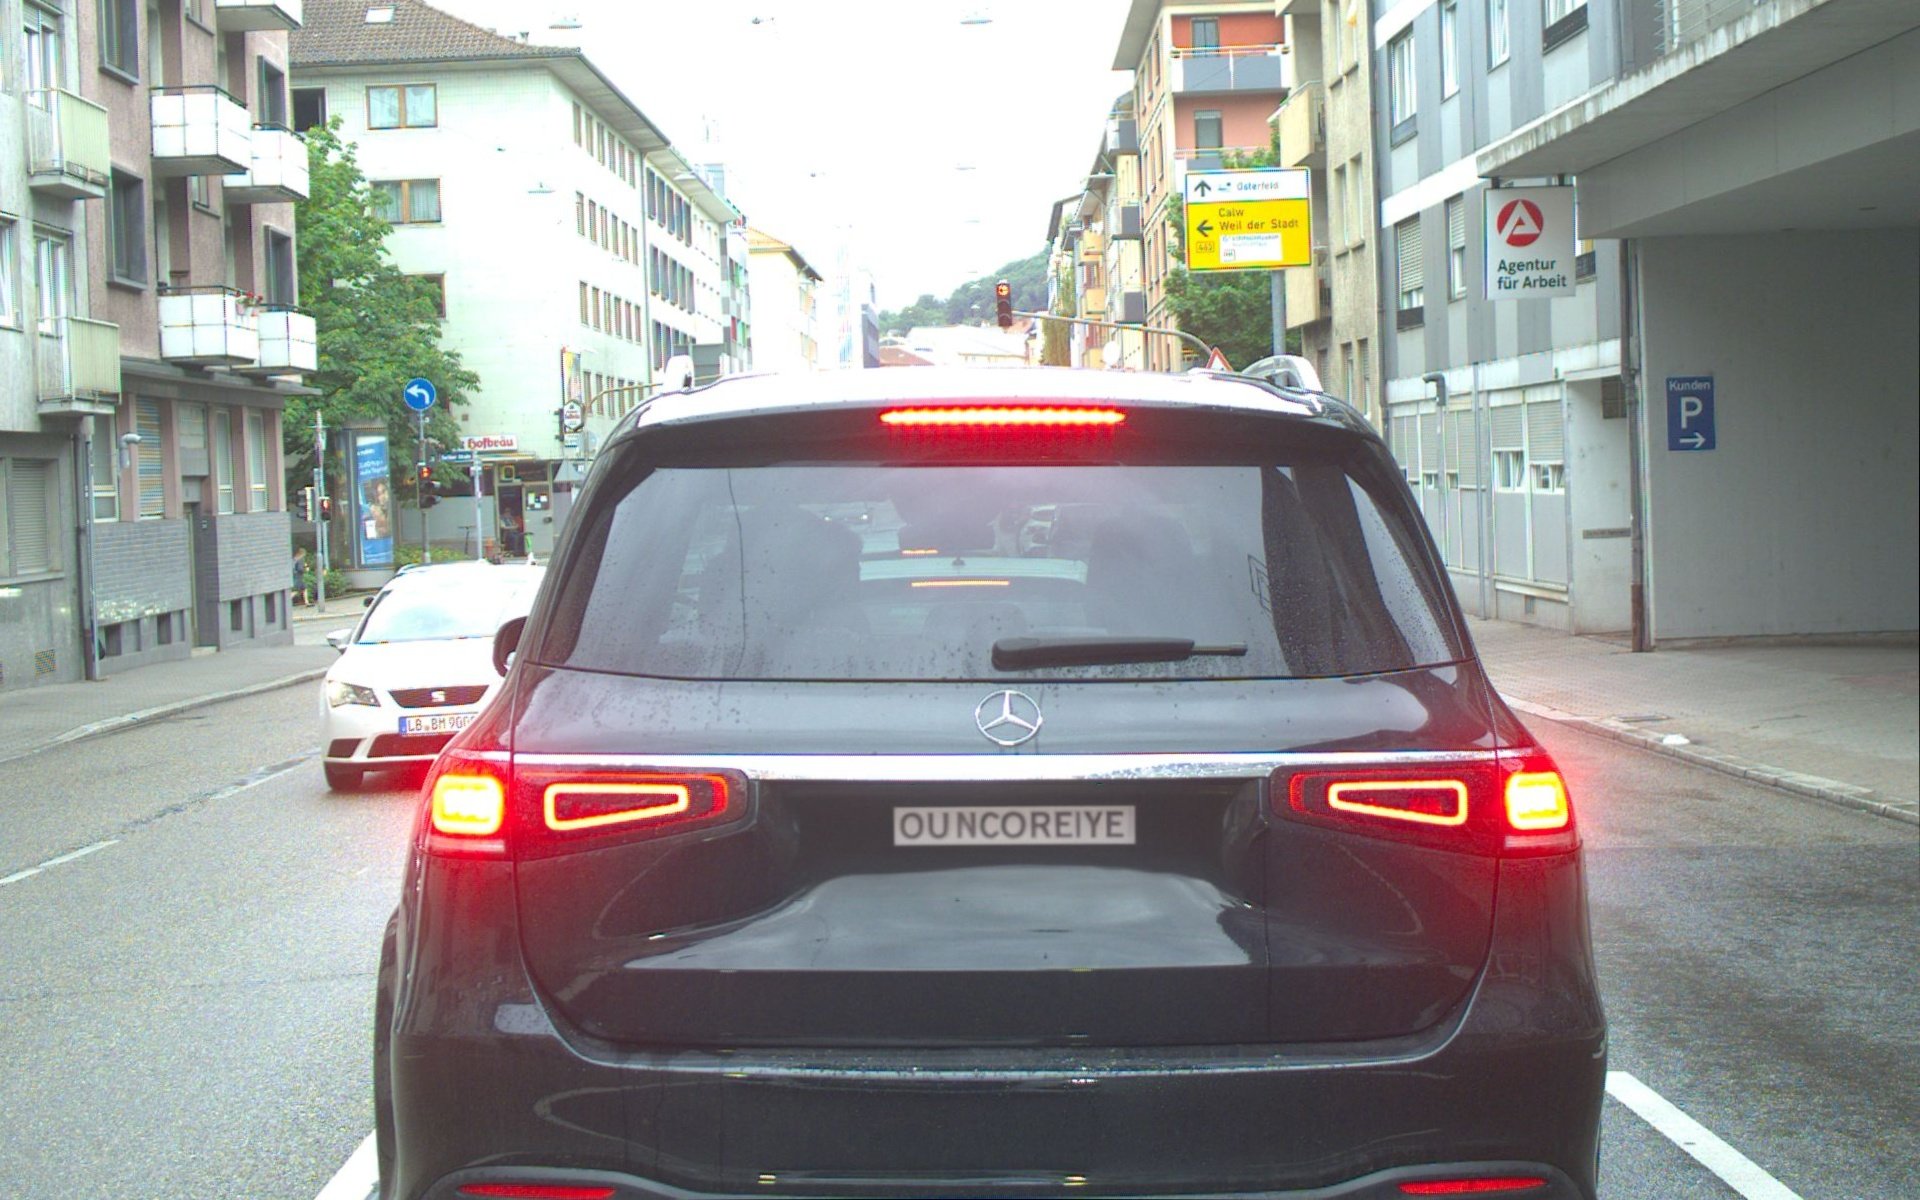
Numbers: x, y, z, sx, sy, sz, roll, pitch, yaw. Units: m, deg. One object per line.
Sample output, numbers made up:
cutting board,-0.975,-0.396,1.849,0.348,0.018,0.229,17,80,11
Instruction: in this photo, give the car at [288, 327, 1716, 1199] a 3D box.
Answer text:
car,0.031,0.509,7.011,1.985,1.799,4.390,1,1,-1

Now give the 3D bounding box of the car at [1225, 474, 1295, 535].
car,8.226,-2.629,94.597,1.671,1.583,3.330,-2,1,2

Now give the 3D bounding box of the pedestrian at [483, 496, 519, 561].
pedestrian,-13.616,-2.115,101.953,0.923,1.895,0.706,-2,1,-2

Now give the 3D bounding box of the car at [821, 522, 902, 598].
car,-2.235,-0.896,77.829,1.694,1.575,4.218,-4,0,-2

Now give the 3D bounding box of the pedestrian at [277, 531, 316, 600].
pedestrian,-17.295,-0.907,89.638,0.636,1.758,0.773,-3,2,-41

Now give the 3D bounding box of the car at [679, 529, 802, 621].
car,-3.608,-0.411,57.081,1.695,1.365,4.218,-4,0,0

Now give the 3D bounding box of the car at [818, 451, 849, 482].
car,-7.142,-7.489,193.624,1.618,1.534,4.218,-3,1,-3

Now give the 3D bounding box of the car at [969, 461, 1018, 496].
car,1.478,-5.408,153.520,1.885,1.367,4.218,-3,1,-3

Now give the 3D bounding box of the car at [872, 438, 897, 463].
car,-5.472,-10.872,250.220,1.618,1.534,4.218,-3,1,-3

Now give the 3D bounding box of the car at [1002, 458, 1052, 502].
car,2.616,-4.691,135.017,1.618,1.534,4.218,-3,1,-3

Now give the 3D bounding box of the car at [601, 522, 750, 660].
car,-3.487,-0.124,42.669,1.618,1.534,4.218,-3,1,-3

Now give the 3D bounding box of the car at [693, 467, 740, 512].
car,-9.317,-4.200,131.579,1.618,1.534,4.218,-3,1,-3

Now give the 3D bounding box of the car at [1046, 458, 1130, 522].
car,3.103,-2.668,84.152,1.618,1.382,4.218,-3,1,-3

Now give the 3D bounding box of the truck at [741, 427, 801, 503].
truck,-8.611,-6.096,156.996,2.479,3.035,9.921,-3,1,-3

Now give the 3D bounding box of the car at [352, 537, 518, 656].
car,-7.283,-0.089,48.060,1.723,1.468,4.375,-4,1,-2

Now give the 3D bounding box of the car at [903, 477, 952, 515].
car,-1.364,-4.379,145.440,1.993,1.483,4.000,-2,1,-1

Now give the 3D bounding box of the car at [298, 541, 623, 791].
car,-3.461,0.414,24.472,1.744,1.534,4.053,-3,1,-2

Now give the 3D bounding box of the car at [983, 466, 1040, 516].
car,1.760,-3.773,119.123,1.618,1.534,4.218,-3,1,-3

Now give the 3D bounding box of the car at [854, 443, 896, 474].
car,-4.158,-6.924,168.207,1.885,1.260,4.218,-3,1,-3

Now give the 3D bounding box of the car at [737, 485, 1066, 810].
car,-0.419,0.240,20.825,1.751,1.725,4.218,-1,1,-3
